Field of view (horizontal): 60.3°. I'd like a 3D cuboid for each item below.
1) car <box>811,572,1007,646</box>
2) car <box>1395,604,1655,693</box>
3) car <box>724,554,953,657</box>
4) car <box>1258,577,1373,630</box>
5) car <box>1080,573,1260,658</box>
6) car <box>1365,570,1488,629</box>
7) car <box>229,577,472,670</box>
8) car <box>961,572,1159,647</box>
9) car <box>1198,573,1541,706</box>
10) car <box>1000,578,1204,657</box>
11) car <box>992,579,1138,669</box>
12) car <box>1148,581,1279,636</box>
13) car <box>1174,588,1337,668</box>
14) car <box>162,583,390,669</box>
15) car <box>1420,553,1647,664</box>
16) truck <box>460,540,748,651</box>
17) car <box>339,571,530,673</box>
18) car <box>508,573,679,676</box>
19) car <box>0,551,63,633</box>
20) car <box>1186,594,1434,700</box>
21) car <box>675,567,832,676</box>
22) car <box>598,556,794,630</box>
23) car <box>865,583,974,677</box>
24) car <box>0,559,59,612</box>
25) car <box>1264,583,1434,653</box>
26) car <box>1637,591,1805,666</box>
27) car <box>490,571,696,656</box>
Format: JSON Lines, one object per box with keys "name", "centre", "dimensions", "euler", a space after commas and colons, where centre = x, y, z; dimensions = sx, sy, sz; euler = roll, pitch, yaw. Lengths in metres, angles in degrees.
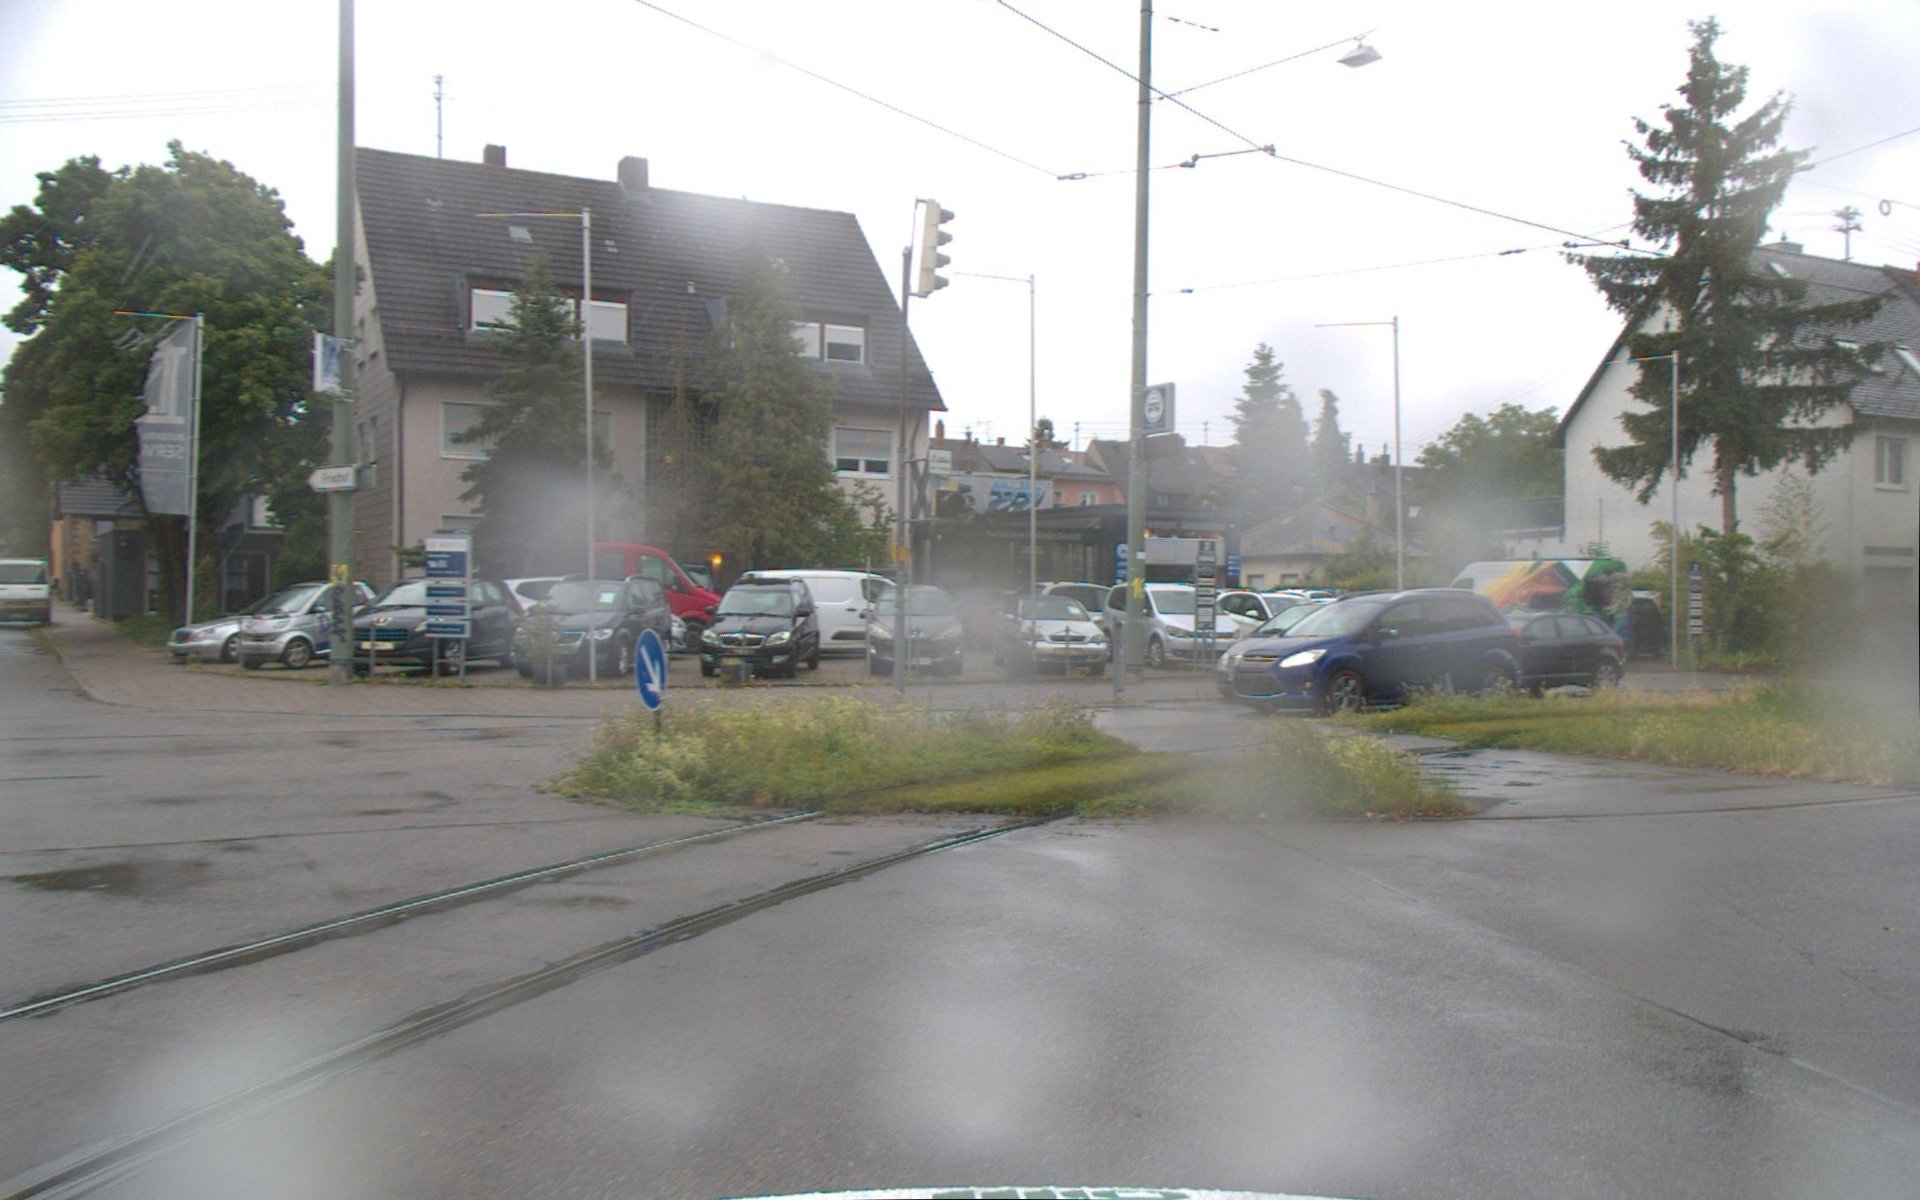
{"name": "car", "centre": [-1.239, 0.227, 40.333], "dimensions": [4.379, 1.717, 1.983], "euler": [0, -1, -27]}
{"name": "car", "centre": [9.752, 0.838, 28.506], "dimensions": [4.322, 1.362, 1.708], "euler": [3, -1, -27]}
{"name": "car", "centre": [-2.525, 0.119, 34.542], "dimensions": [4.379, 2.049, 1.983], "euler": [0, -1, -27]}
{"name": "car", "centre": [11.341, 0.111, 52.524], "dimensions": [1.760, 1.608, 4.424], "euler": [-1, -1, 39]}
{"name": "car", "centre": [4.146, 0.274, 33.249], "dimensions": [1.780, 1.606, 3.838], "euler": [0, 0, -27]}
{"name": "car", "centre": [13.500, -0.002, 47.736], "dimensions": [1.830, 1.608, 4.377], "euler": [-1, -1, 39]}
{"name": "car", "centre": [-11.196, 0.381, 30.542], "dimensions": [1.775, 1.606, 3.849], "euler": [0, 1, 41]}
{"name": "car", "centre": [2.397, 0.231, 39.588], "dimensions": [4.379, 1.717, 1.983], "euler": [0, -1, -27]}
{"name": "car", "centre": [5.688, 0.565, 22.860], "dimensions": [4.510, 1.633, 1.980], "euler": [3, -1, -31]}
{"name": "car", "centre": [3.244, 0.380, 37.656], "dimensions": [4.379, 1.717, 1.745], "euler": [0, -1, -27]}
{"name": "car", "centre": [1.922, 0.449, 31.502], "dimensions": [1.795, 1.531, 4.047], "euler": [2, -1, -11]}
{"name": "car", "centre": [7.580, 0.231, 49.810], "dimensions": [1.763, 1.524, 3.958], "euler": [3, -1, -31]}
{"name": "car", "centre": [6.321, 0.584, 35.704], "dimensions": [1.695, 1.600, 3.589], "euler": [3, -1, -25]}
{"name": "car", "centre": [-13.579, 0.474, 32.990], "dimensions": [1.775, 1.606, 3.849], "euler": [0, 1, 41]}
{"name": "car", "centre": [13.782, 0.192, 40.076], "dimensions": [2.121, 2.448, 5.100], "euler": [3, -1, -28]}
{"name": "truck", "centre": [-7.638, -0.097, 36.024], "dimensions": [5.970, 2.312, 1.996], "euler": [0, -1, -9]}
{"name": "car", "centre": [-8.792, 0.335, 28.007], "dimensions": [1.764, 1.606, 3.874], "euler": [0, 0, 4]}
{"name": "car", "centre": [-6.068, 0.373, 27.828], "dimensions": [1.764, 1.606, 3.874], "euler": [0, 0, 4]}
{"name": "car", "centre": [-31.545, -0.274, 55.650], "dimensions": [2.131, 2.617, 4.090], "euler": [3, -1, -31]}
{"name": "car", "centre": [5.575, 0.751, 26.307], "dimensions": [3.588, 1.531, 1.708], "euler": [3, -1, -27]}
{"name": "car", "centre": [-3.501, 0.341, 28.741], "dimensions": [1.951, 1.747, 4.002], "euler": [0, 0, 4]}
{"name": "car", "centre": [-6.427, -0.161, 40.332], "dimensions": [4.379, 1.717, 1.983], "euler": [0, -1, -27]}
{"name": "car", "centre": [-0.679, 0.532, 29.888], "dimensions": [1.790, 1.531, 4.058], "euler": [2, -1, 0]}
{"name": "car", "centre": [-38.204, -0.583, 67.938], "dimensions": [1.971, 2.049, 3.962], "euler": [3, -1, -29]}
{"name": "car", "centre": [8.595, 0.388, 36.818], "dimensions": [1.695, 1.420, 3.812], "euler": [3, -1, -25]}
{"name": "car", "centre": [19.174, 0.676, 41.672], "dimensions": [3.840, 1.592, 1.981], "euler": [-3, 2, -29]}
{"name": "car", "centre": [-7.275, 0.267, 33.154], "dimensions": [3.892, 1.626, 1.996], "euler": [0, -1, -9]}
